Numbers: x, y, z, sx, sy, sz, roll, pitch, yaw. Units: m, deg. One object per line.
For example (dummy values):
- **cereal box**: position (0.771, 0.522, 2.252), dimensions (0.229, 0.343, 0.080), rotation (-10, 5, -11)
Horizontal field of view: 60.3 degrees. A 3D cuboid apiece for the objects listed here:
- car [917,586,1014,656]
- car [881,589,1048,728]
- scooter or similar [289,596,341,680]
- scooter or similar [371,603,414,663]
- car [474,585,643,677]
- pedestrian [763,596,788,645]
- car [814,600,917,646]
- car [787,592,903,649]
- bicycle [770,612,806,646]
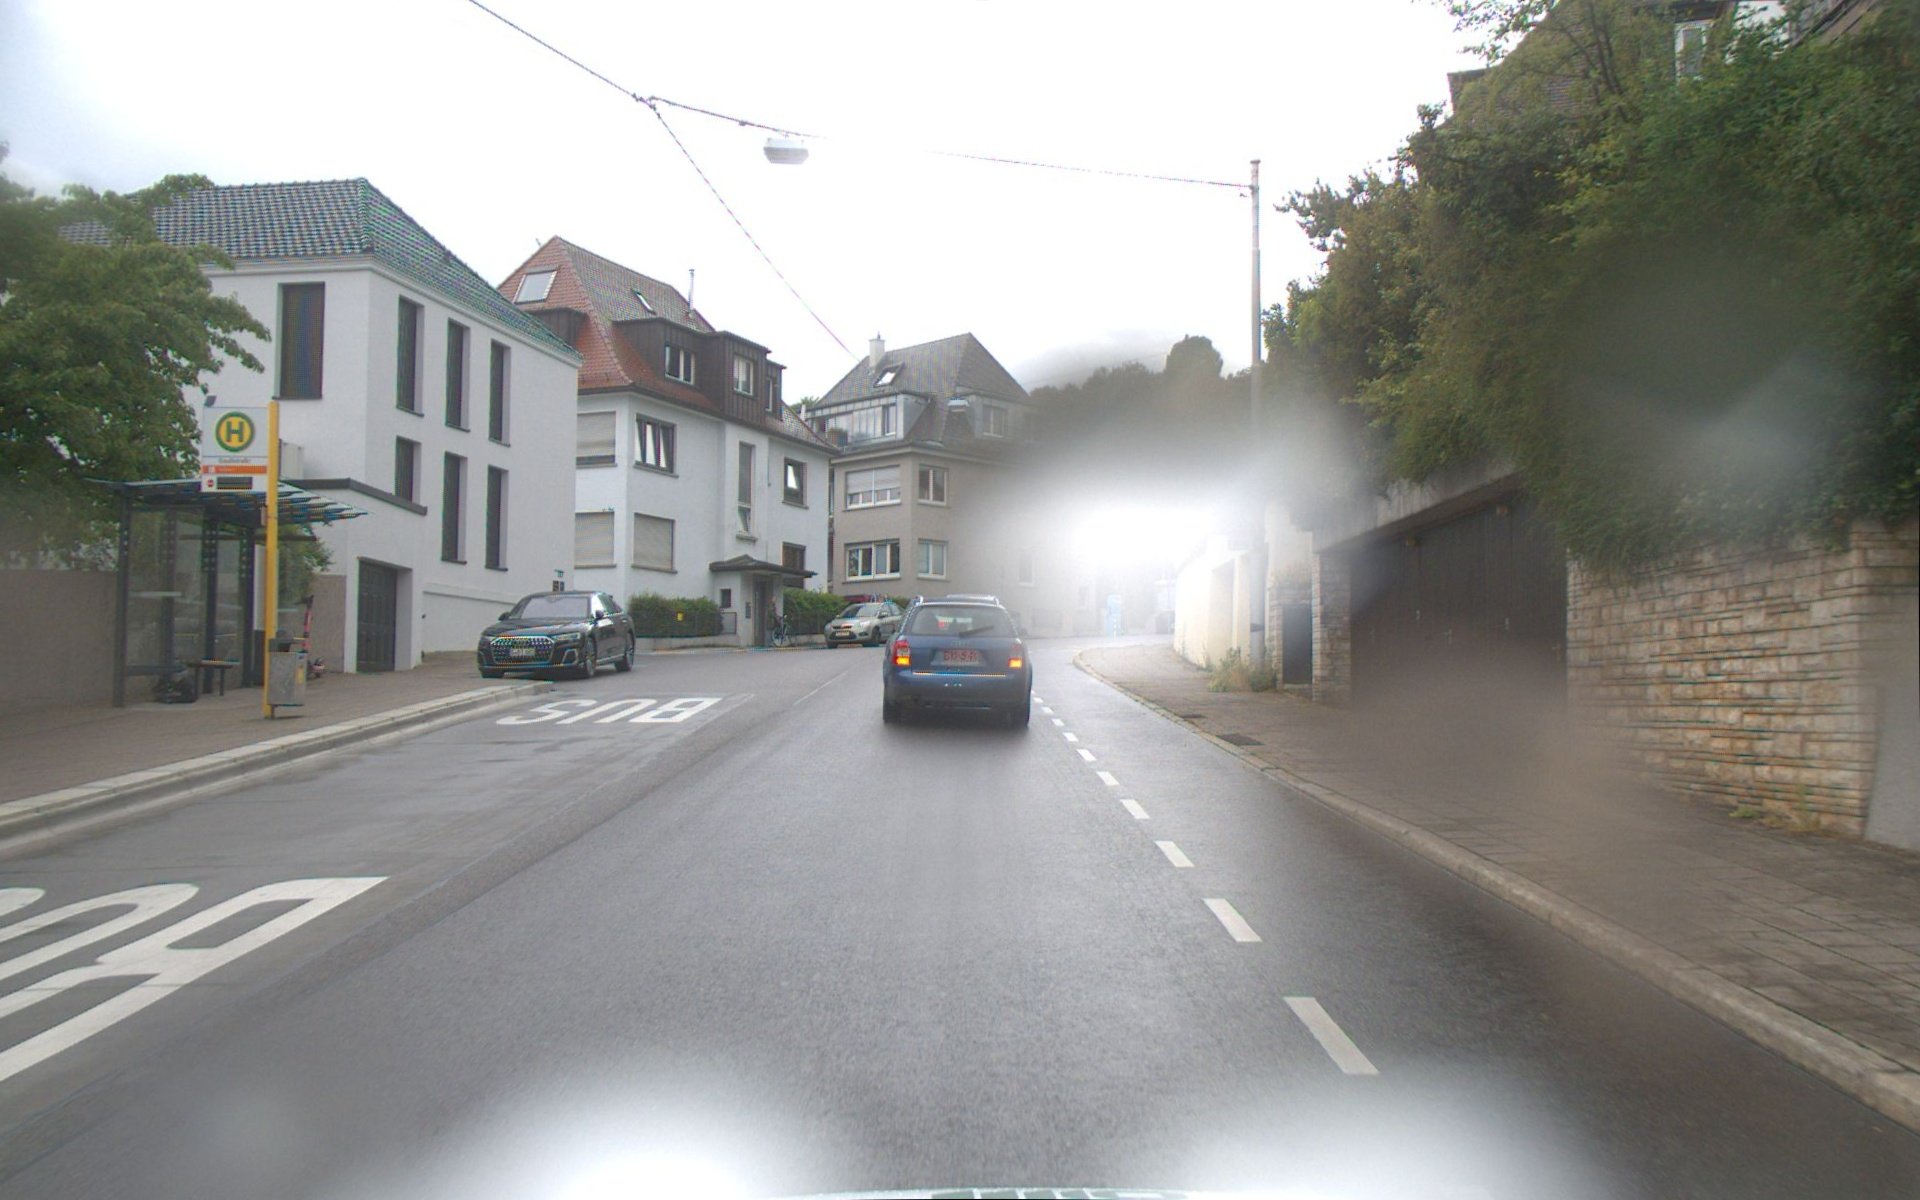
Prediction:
- **car**: position (0.058, 0.484, 36.496), dimensions (1.776, 1.384, 3.996), rotation (2, -1, -5)
- **car**: position (0.055, 0.626, 20.105), dimensions (1.774, 1.464, 4.081), rotation (2, 0, 0)
- **scooter or similar**: position (-9.831, 0.569, 25.236), dimensions (0.330, 1.241, 1.122), rotation (1, 0, 0)
- **scooter or similar**: position (-11.003, 0.628, 32.111), dimensions (0.421, 1.129, 1.311), rotation (0, 0, -3)
- **car**: position (-7.174, 0.545, 30.052), dimensions (1.791, 1.512, 4.991), rotation (-1, -1, 1)
- **pedestrian**: position (-6.058, 0.659, 54.313), dimensions (0.482, 1.605, 0.948), rotation (0, 0, 18)
- **car**: position (-3.103, 0.751, 55.171), dimensions (1.798, 1.450, 4.229), rotation (-2, -1, 21)
- **car**: position (-4.468, 0.782, 64.246), dimensions (3.911, 1.854, 1.997), rotation (-6, -3, 28)
- **bicycle**: position (-5.624, 0.946, 54.266), dimensions (0.446, 1.086, 1.922), rotation (0, 0, 18)
